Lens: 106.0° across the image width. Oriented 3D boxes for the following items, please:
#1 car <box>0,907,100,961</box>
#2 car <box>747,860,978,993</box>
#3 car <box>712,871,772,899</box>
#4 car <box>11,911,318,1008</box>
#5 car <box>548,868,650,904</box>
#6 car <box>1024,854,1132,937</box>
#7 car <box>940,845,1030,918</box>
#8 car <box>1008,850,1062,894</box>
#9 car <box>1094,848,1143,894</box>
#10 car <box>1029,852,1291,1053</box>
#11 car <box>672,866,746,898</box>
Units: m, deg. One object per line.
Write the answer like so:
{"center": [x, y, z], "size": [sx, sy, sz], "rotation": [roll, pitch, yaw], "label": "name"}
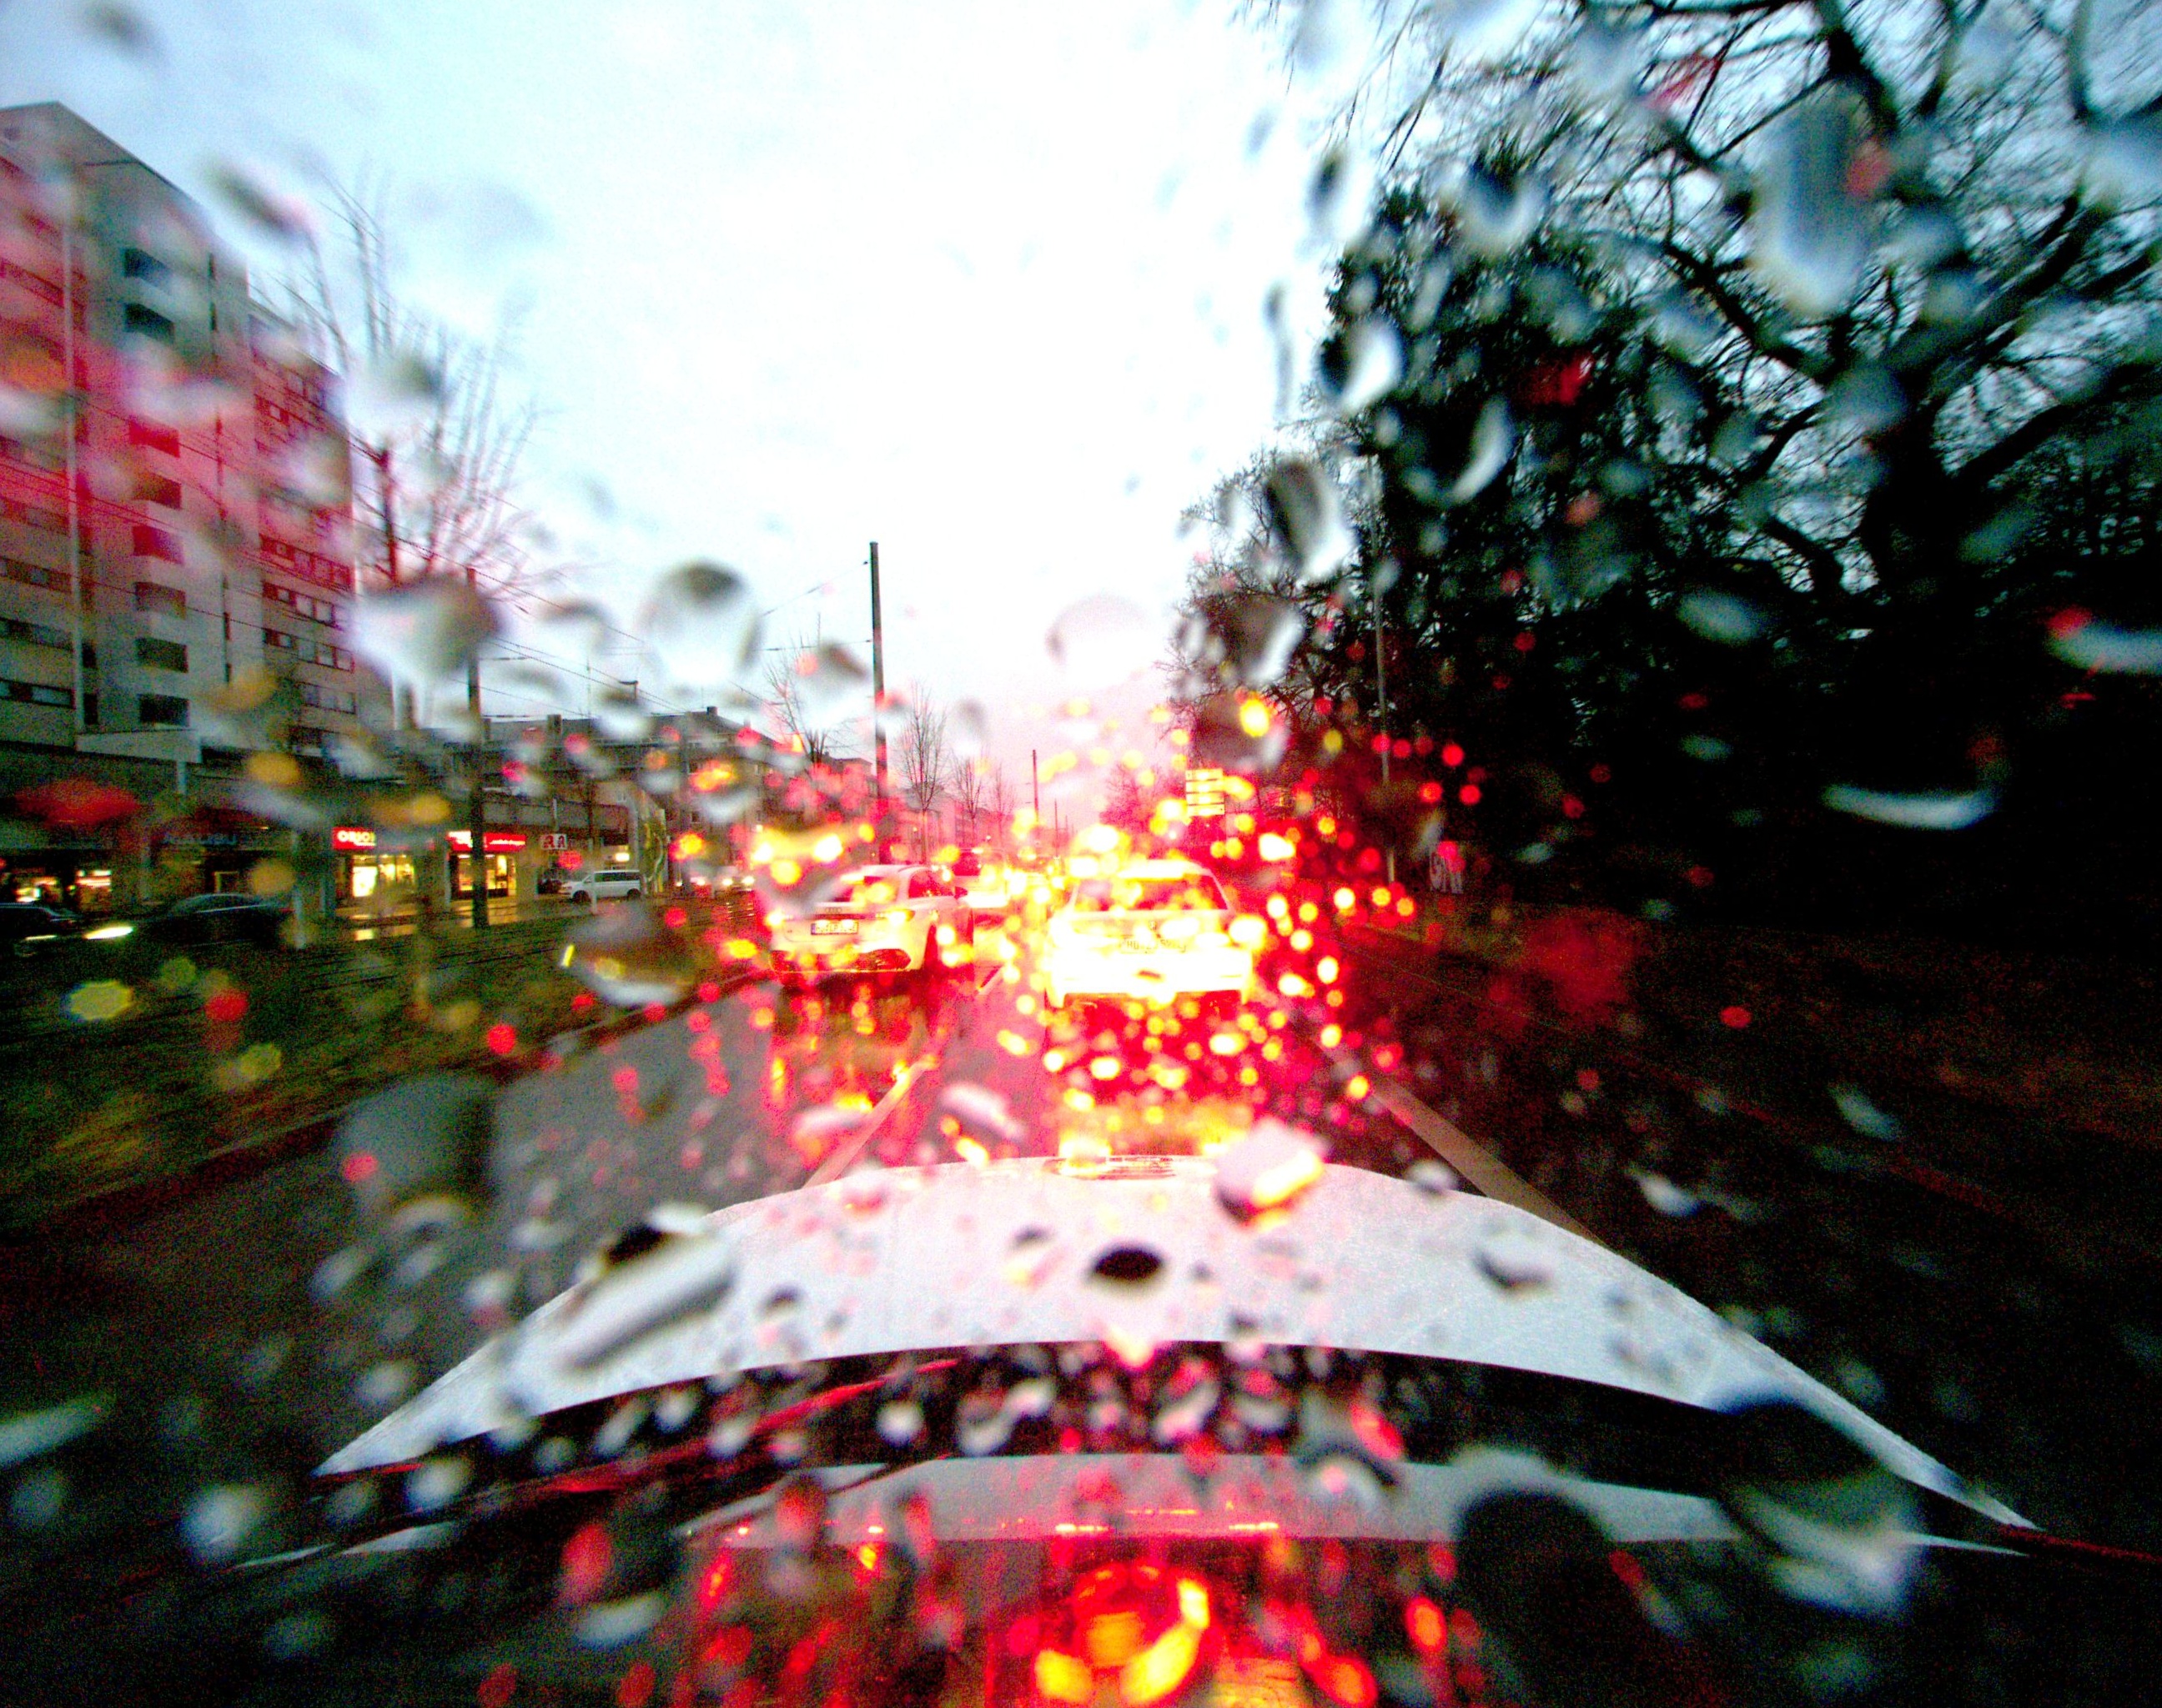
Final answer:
{"center": [-31.564, 2.327, 23.323], "size": [4.015, 1.387, 1.916], "rotation": [1, -1, -34], "label": "car"}
{"center": [-2.654, 0.803, 11.126], "size": [1.840, 1.405, 4.614], "rotation": [-1, 0, 1], "label": "car"}
{"center": [-22.189, 1.994, 53.498], "size": [1.889, 1.634, 4.581], "rotation": [-2, 0, 1], "label": "car"}
{"center": [-22.451, 2.499, 20.350], "size": [1.887, 1.719, 4.921], "rotation": [-2, 0, 4], "label": "car"}
{"center": [-30.684, 2.010, 51.957], "size": [5.193, 1.912, 1.975], "rotation": [-3, 0, -44], "label": "car"}
{"center": [0.009, 0.755, 16.924], "size": [1.928, 1.457, 4.165], "rotation": [-1, 0, 2], "label": "car"}
{"center": [-2.465, 0.677, 22.069], "size": [1.787, 1.736, 4.538], "rotation": [-1, 0, 1], "label": "car"}
{"center": [-1.780, 0.683, 32.719], "size": [1.800, 1.646, 4.002], "rotation": [-1, 0, 2], "label": "car"}
{"center": [1.455, 0.634, 32.049], "size": [1.800, 1.646, 4.002], "rotation": [-1, 0, 2], "label": "car"}
{"center": [0.673, 0.758, 8.378], "size": [1.992, 1.508, 4.165], "rotation": [-1, 0, 2], "label": "car"}
{"center": [-25.492, 1.869, 55.980], "size": [1.982, 1.912, 5.177], "rotation": [-3, 0, 9], "label": "car"}
